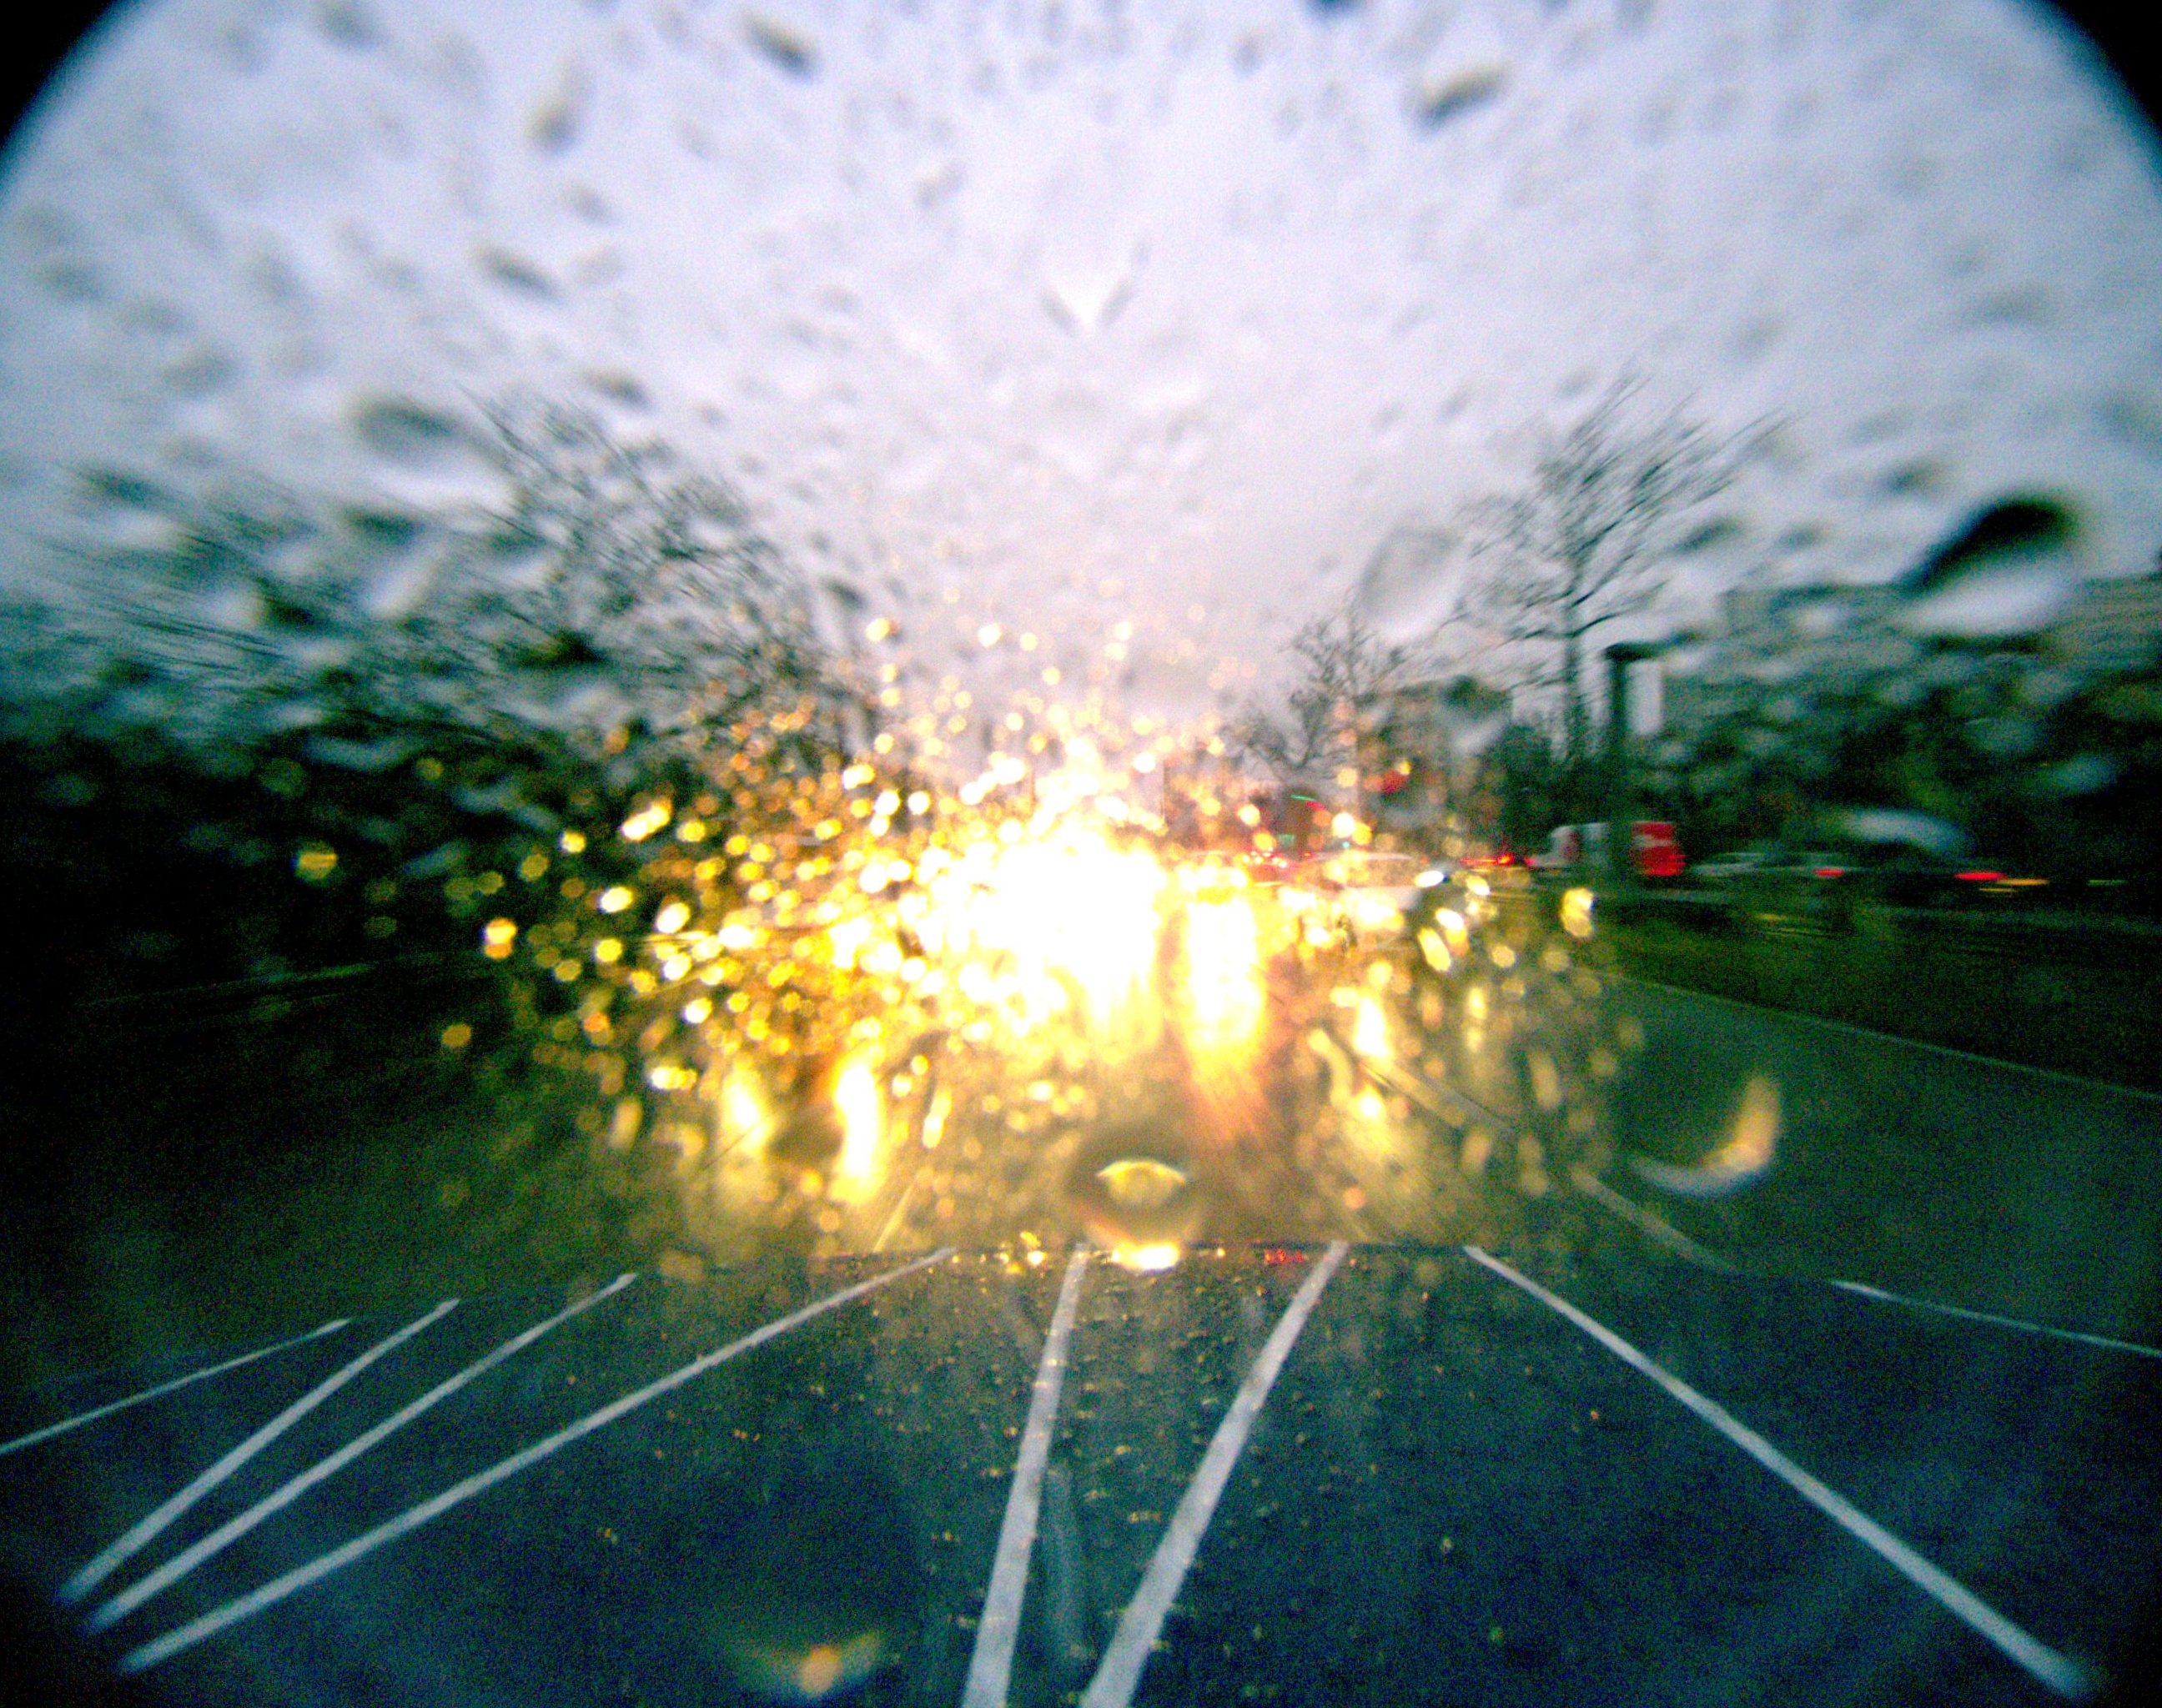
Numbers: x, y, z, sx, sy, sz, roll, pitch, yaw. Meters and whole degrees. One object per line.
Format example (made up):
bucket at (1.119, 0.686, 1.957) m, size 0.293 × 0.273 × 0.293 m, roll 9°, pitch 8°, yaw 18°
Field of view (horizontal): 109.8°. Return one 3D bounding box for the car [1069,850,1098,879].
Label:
car at (0.121, 0.587, 45.664) m, size 1.679 × 1.590 × 4.044 m, roll -1°, pitch 1°, yaw -1°

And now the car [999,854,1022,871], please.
car at (-5.777, 0.664, 62.665) m, size 1.636 × 1.302 × 3.999 m, roll -1°, pitch 1°, yaw -2°

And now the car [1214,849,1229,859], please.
car at (23.488, 0.029, 126.923) m, size 1.774 × 1.544 × 3.946 m, roll -1°, pitch 0°, yaw -1°

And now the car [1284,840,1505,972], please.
car at (4.503, 0.635, 11.644) m, size 1.718 × 1.638 × 4.146 m, roll -1°, pitch 1°, yaw 1°

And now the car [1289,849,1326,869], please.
car at (19.083, 0.416, 64.221) m, size 1.861 × 1.589 × 4.286 m, roll -1°, pitch 0°, yaw 0°

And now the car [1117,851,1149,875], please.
car at (3.648, 0.626, 53.913) m, size 1.953 × 1.590 × 4.123 m, roll -1°, pitch 1°, yaw -1°

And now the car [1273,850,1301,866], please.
car at (19.075, 0.361, 70.347) m, size 1.656 × 1.412 × 3.326 m, roll -1°, pitch 0°, yaw -1°

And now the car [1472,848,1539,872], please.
car at (25.450, 0.322, 45.735) m, size 1.760 × 1.390 × 3.999 m, roll -1°, pitch 1°, yaw 0°

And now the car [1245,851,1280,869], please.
car at (15.636, 0.487, 65.644) m, size 1.774 × 1.528 × 4.840 m, roll -1°, pitch 0°, yaw 0°

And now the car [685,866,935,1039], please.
car at (-3.151, 1.025, 9.878) m, size 1.820 × 1.609 × 4.409 m, roll -1°, pitch 1°, yaw -3°

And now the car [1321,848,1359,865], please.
car at (22.786, 0.199, 67.072) m, size 1.774 × 1.486 × 4.439 m, roll -1°, pitch 0°, yaw 0°

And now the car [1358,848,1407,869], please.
car at (22.357, 0.315, 56.598) m, size 1.774 × 1.481 × 4.649 m, roll -1°, pitch 0°, yaw 0°

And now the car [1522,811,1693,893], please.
car at (21.911, -0.152, 32.213) m, size 2.297 × 2.988 × 7.345 m, roll -2°, pitch 1°, yaw 2°

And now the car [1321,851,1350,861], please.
car at (41.644, 0.277, 124.192) m, size 4.447 × 1.535 × 1.847 m, roll -1°, pitch 1°, yaw -26°

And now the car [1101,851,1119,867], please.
car at (3.326, 0.532, 87.842) m, size 1.998 × 1.652 × 3.999 m, roll -2°, pitch 1°, yaw 0°

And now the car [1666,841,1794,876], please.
car at (28.907, 0.170, 34.060) m, size 1.909 × 1.438 × 4.442 m, roll -2°, pitch 1°, yaw 0°

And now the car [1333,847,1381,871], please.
car at (18.740, 0.322, 51.723) m, size 1.774 × 1.577 × 4.032 m, roll -1°, pitch 0°, yaw 0°

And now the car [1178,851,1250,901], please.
car at (4.619, 0.714, 26.863) m, size 1.694 × 1.530 × 4.189 m, roll -2°, pitch 1°, yaw -1°

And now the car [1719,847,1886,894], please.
car at (24.815, 0.507, 26.364) m, size 1.909 × 1.438 × 4.089 m, roll -2°, pitch 1°, yaw 0°

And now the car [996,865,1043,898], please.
car at (-2.866, 1.261, 36.362) m, size 1.881 × 1.368 × 4.754 m, roll -1°, pitch 1°, yaw -1°

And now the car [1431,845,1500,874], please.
car at (21.977, 0.289, 43.609) m, size 1.774 × 1.528 × 4.446 m, roll -1°, pitch 0°, yaw 1°

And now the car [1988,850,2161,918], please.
car at (24.984, 0.672, 18.126) m, size 1.740 × 1.438 × 4.171 m, roll -2°, pitch 1°, yaw 0°

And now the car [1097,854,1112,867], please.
car at (3.188, 0.846, 104.373) m, size 1.998 × 1.605 × 3.999 m, roll -2°, pitch 1°, yaw 0°

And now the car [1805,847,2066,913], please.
car at (21.535, 0.575, 19.499) m, size 1.908 × 1.438 × 4.456 m, roll -2°, pitch 1°, yaw 5°

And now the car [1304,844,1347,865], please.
car at (18.596, 0.041, 57.925) m, size 1.774 × 1.524 × 4.524 m, roll -1°, pitch 0°, yaw 0°

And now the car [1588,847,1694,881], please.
car at (24.949, 0.405, 34.044) m, size 1.760 × 1.390 × 3.999 m, roll -1°, pitch 1°, yaw 0°

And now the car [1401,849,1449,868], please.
car at (25.799, 0.316, 57.111) m, size 1.760 × 1.390 × 3.999 m, roll -1°, pitch 1°, yaw 0°

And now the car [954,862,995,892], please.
car at (-6.113, 1.288, 44.104) m, size 1.972 × 1.610 × 4.546 m, roll 0°, pitch 1°, yaw -3°

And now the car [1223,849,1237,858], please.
car at (26.548, -0.063, 135.357) m, size 1.623 × 1.486 × 4.016 m, roll -1°, pitch 0°, yaw -1°
